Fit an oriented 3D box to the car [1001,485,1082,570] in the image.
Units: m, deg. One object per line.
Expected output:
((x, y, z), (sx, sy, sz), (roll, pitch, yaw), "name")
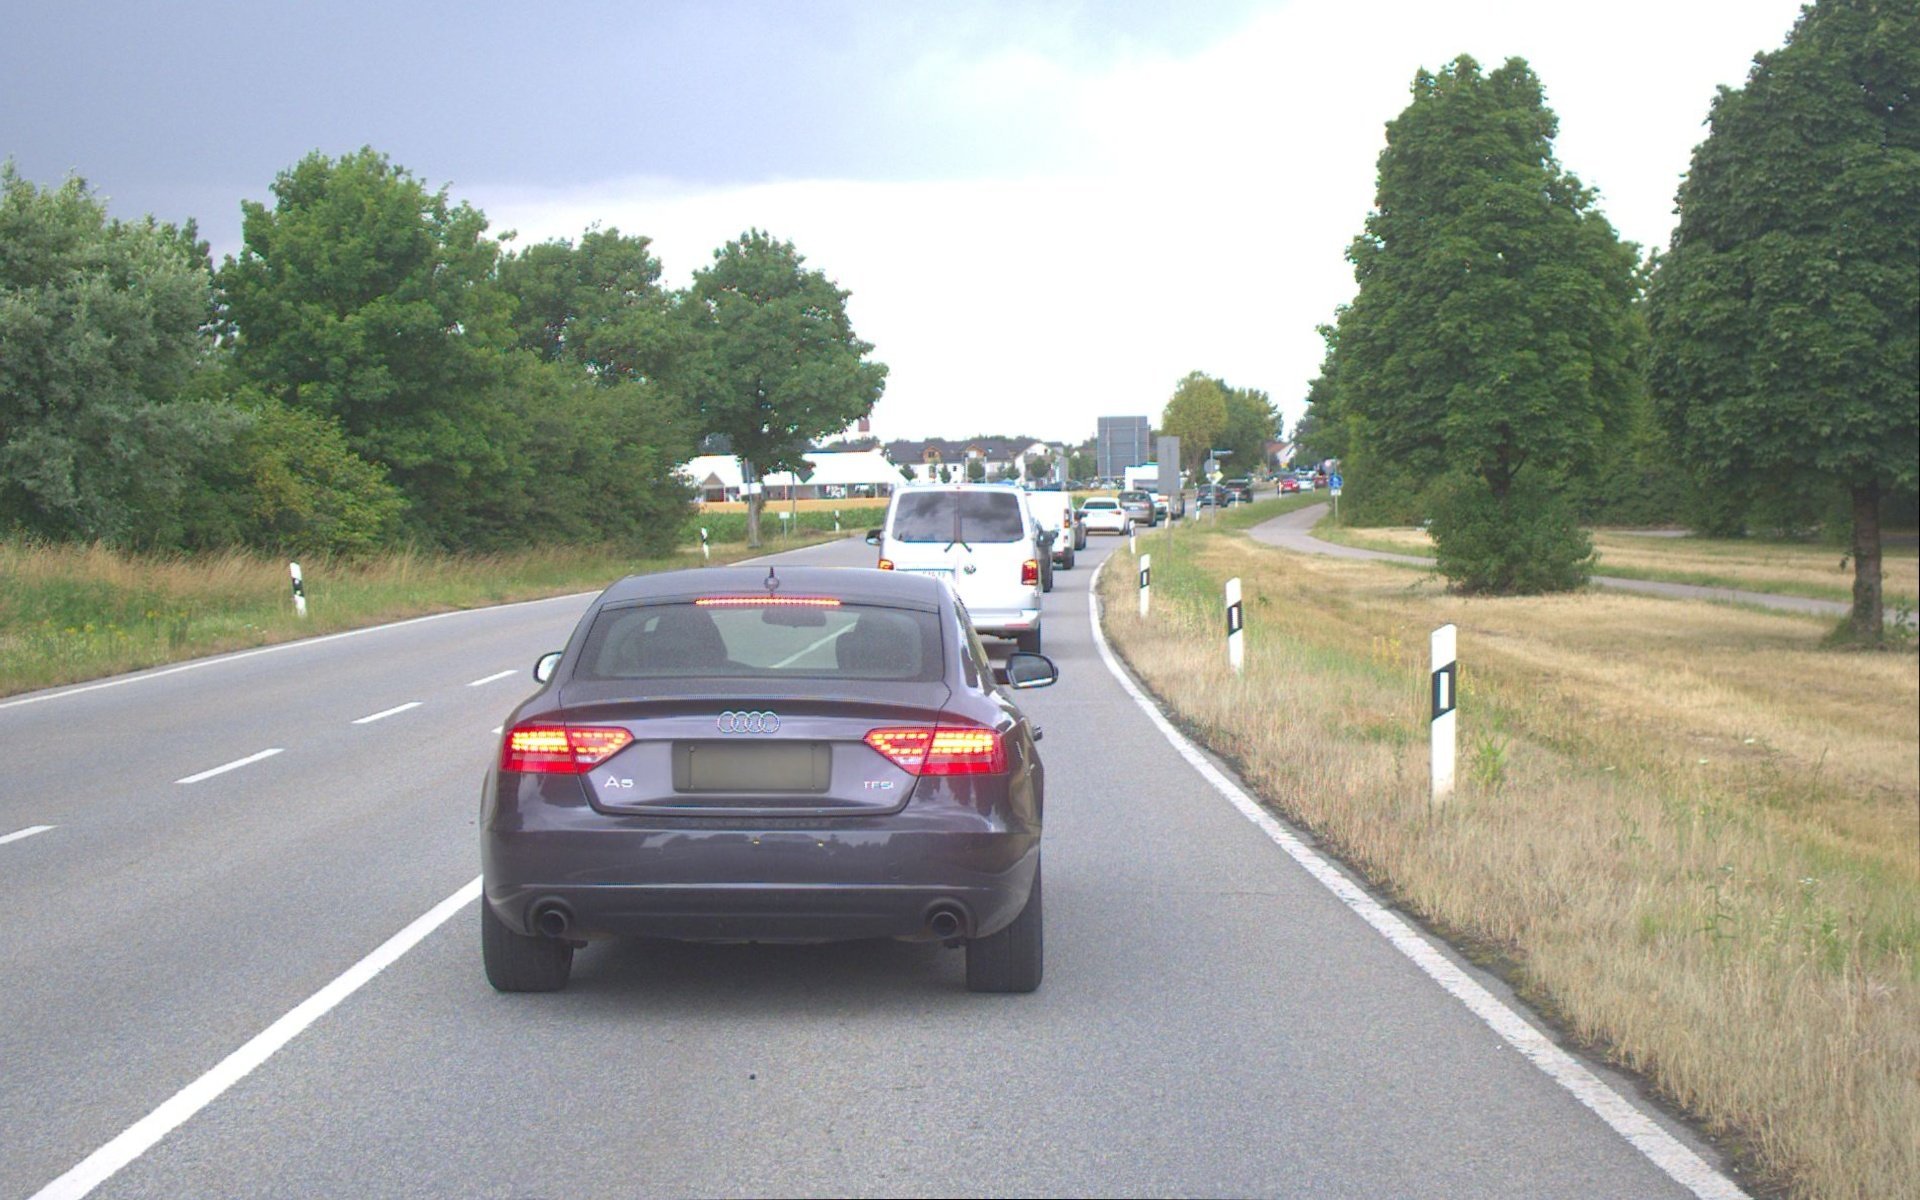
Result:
((2.064, -1.843, 86.706), (1.993, 2.081, 4.000), (0, 1, 2), "car")

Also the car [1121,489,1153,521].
((7.590, -4.056, 147.346), (1.258, 1.349, 3.465), (0, 1, 5), "car")

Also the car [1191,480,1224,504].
((15.253, -6.636, 211.921), (1.719, 1.446, 4.000), (1, 2, 0), "car")

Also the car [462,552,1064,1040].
((-0.628, 0.560, 12.256), (1.782, 1.372, 4.001), (1, 2, -1), "car")

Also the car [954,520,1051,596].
((0.854, -0.853, 67.742), (1.795, 1.459, 3.248), (0, 1, 3), "car")

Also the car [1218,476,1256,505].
((15.595, -6.150, 193.636), (1.821, 1.591, 4.000), (1, 2, 0), "car")

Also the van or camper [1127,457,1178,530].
((9.277, -5.111, 166.132), (2.340, 3.469, 5.718), (0, 1, 2), "van or camper")

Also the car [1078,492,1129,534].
((5.361, -3.244, 128.499), (1.736, 1.509, 3.746), (0, 1, 5), "car")

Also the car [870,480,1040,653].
((-0.098, -0.425, 39.536), (1.838, 1.876, 4.001), (1, 2, -1), "car")

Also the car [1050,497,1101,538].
((3.599, -2.579, 107.486), (1.535, 1.273, 3.747), (0, 1, 1), "car")
